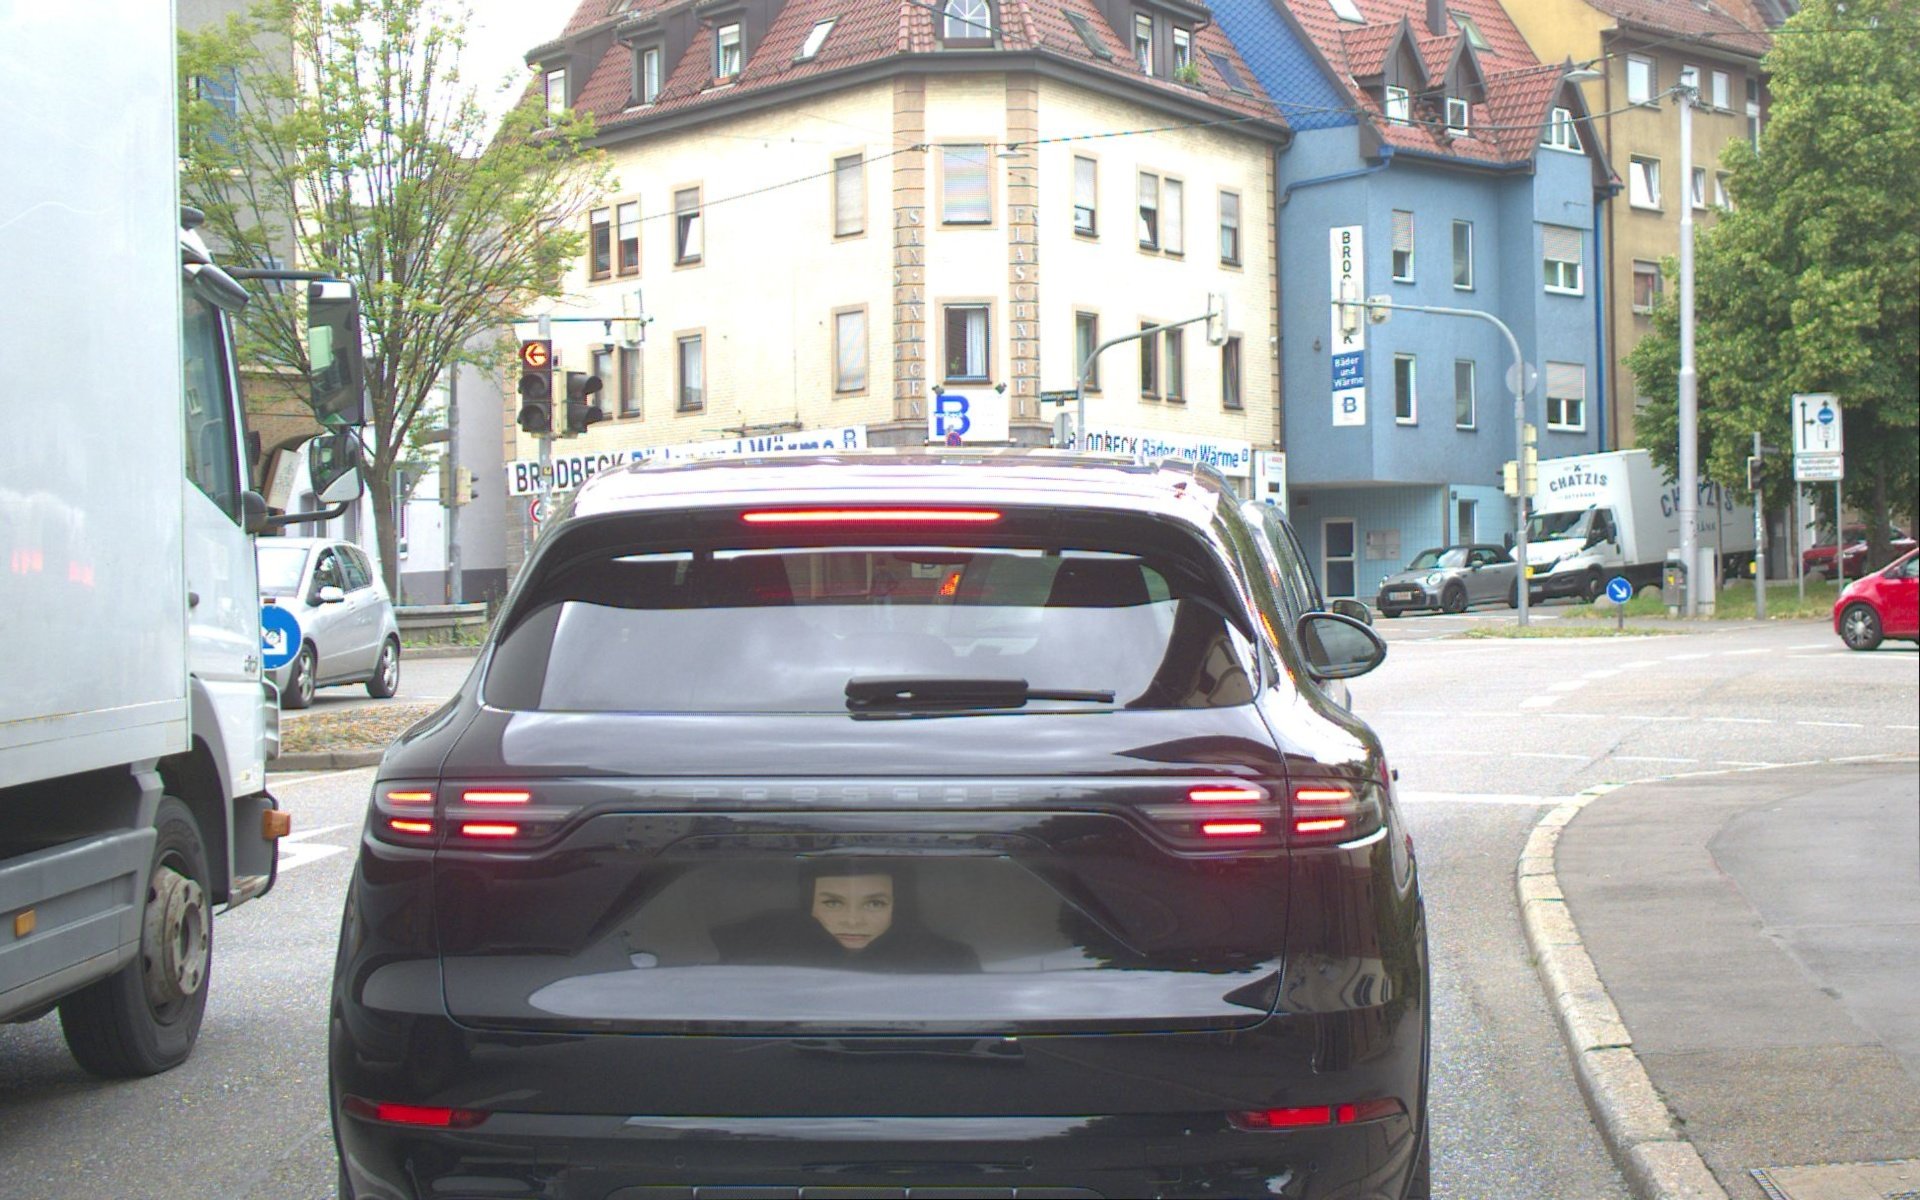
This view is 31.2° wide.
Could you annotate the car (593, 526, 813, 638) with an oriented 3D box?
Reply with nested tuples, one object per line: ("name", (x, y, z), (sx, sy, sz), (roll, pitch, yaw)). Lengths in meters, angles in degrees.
("car", (-4.844, -0.345, 64.479), (1.994, 2.007, 3.998), (1, 0, -44))

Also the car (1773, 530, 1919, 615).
("car", (22.326, -0.685, 86.161), (1.999, 2.007, 3.990), (2, 1, 43))

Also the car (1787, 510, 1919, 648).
("car", (12.319, -0.228, 42.176), (1.710, 1.656, 3.999), (2, 1, -38))

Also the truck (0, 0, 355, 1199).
("truck", (-3.377, -0.447, 6.553), (2.769, 3.562, 8.064), (0, 1, 2))

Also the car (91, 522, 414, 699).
("car", (-6.612, 0.105, 32.551), (1.889, 1.574, 3.968), (0, 0, 6))

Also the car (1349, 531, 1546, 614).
("car", (10.208, -0.591, 71.896), (3.989, 1.678, 1.999), (-1, 1, -42))

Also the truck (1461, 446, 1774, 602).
("truck", (15.126, -1.681, 78.536), (2.880, 3.328, 8.772), (2, 1, 41))

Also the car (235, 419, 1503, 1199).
("car", (-0.249, 0.502, 7.380), (1.978, 1.678, 4.001), (0, 2, -3))

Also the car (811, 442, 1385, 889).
("car", (0.753, 0.220, 15.051), (1.994, 1.678, 3.998), (0, 1, 10))
